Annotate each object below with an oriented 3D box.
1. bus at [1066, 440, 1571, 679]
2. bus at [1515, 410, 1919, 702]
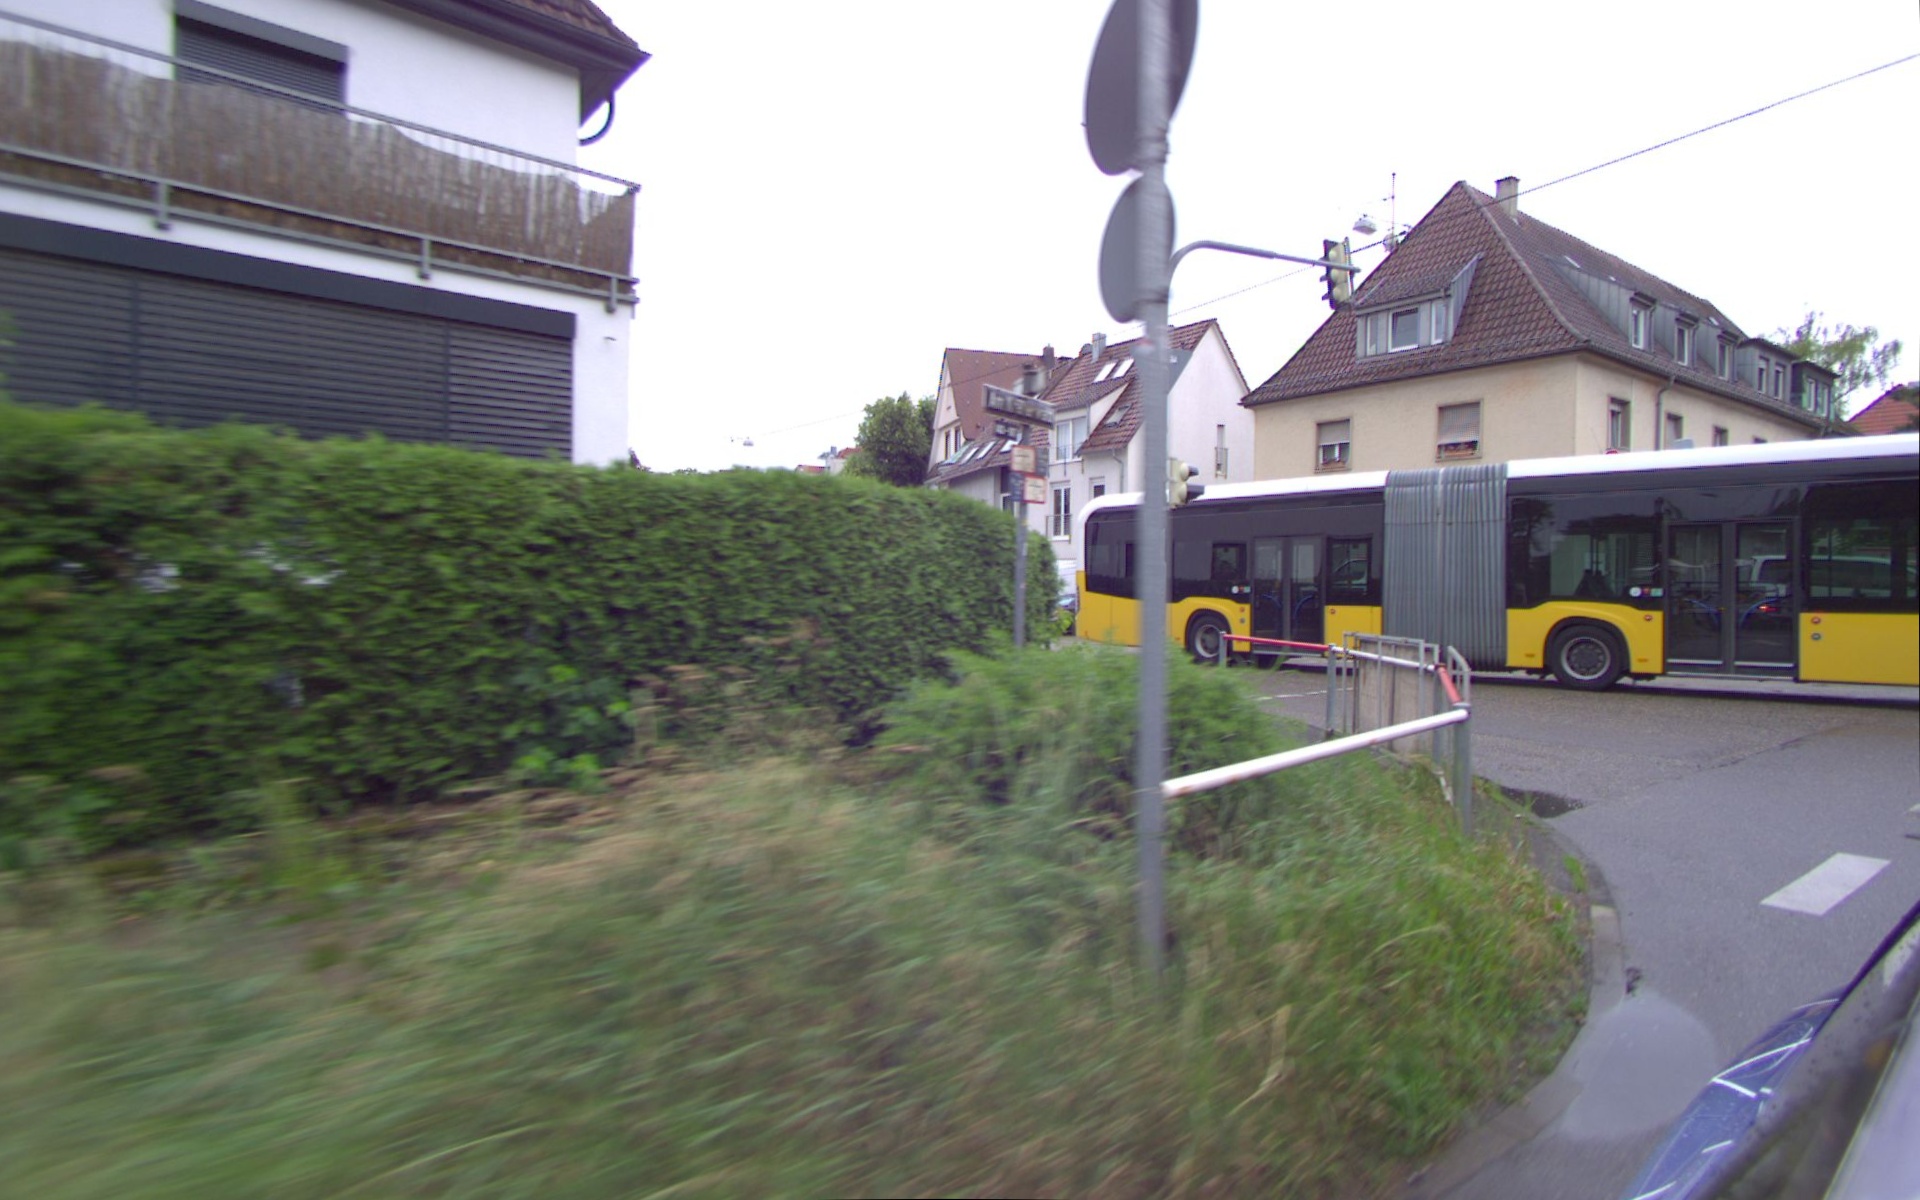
[{"bbox_3d":[6.060,-0.610,18.763,2.639,3.441,8.664,0,0,-42],"label":"bus"},{"bbox_3d":[12.402,-0.519,12.918,8.998,3.441,2.867,0,0,40],"label":"bus"}]
